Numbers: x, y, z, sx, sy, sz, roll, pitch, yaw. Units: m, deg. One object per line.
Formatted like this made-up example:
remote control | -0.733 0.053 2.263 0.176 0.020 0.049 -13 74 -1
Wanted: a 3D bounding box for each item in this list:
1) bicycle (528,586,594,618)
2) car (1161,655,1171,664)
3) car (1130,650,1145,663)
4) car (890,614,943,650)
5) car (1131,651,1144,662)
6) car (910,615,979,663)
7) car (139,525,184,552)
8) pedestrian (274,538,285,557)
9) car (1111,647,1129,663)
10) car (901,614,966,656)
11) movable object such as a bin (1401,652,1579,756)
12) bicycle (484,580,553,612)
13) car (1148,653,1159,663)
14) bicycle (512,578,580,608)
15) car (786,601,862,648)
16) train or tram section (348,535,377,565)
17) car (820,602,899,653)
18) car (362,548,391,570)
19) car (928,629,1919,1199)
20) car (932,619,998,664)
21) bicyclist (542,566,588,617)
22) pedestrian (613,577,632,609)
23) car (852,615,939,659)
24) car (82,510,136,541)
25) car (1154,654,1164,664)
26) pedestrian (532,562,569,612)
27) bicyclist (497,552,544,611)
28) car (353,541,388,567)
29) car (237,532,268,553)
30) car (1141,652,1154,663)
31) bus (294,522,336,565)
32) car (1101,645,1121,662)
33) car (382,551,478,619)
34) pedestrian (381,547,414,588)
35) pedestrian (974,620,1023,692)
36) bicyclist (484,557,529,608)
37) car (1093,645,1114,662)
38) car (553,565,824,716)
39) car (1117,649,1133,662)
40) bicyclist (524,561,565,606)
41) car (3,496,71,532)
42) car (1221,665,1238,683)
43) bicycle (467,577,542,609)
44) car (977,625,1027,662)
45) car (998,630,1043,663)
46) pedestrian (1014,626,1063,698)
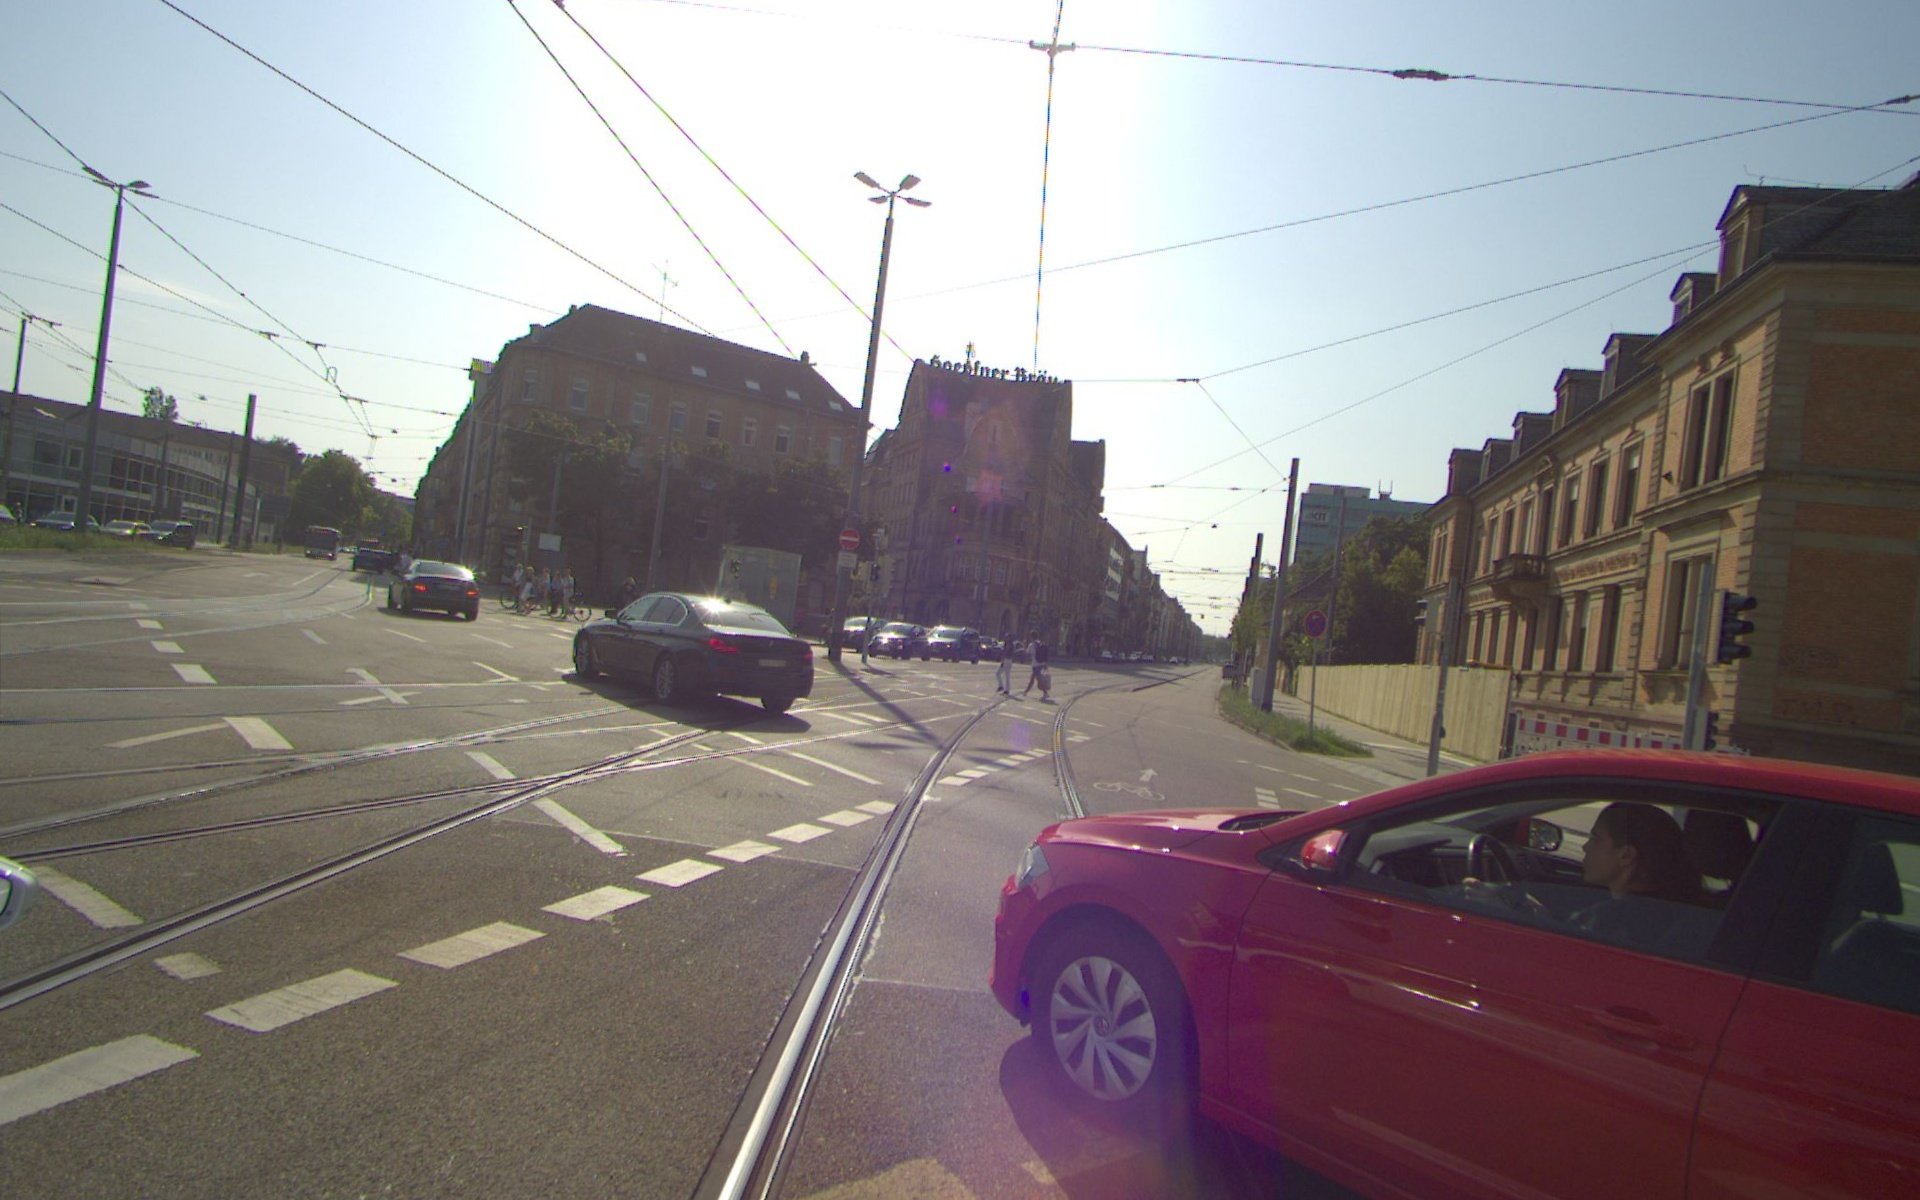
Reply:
bicycle | -14.625 0.100 36.974 1.072 0.975 2.628 7 -1 6
car | 52.468 15.168 256.190 1.896 1.880 4.117 7 -1 16
car | 29.681 9.409 168.162 1.896 1.880 4.117 7 -1 16
car | -2.694 2.058 63.237 1.895 1.880 4.277 7 -1 16
car | 33.074 10.559 187.266 1.896 1.880 4.117 7 -1 16
car | -0.670 1.822 45.926 1.874 1.880 4.072 7 -1 16
car | -51.141 -3.938 64.510 1.601 1.494 3.969 5 0 -30
pedestrian | -61.790 -4.758 91.351 0.590 1.650 0.632 7 0 -30
car | 22.494 7.737 141.496 1.896 1.880 4.117 7 -1 16
car | -1.340 1.905 53.494 2.006 1.880 4.669 7 -1 16
movable object such as a bin | 16.208 3.033 31.459 2.406 2.471 7.985 7 -1 11
bicycle | -16.434 -0.121 37.524 1.072 0.975 2.628 7 -1 6
car | 41.040 12.375 213.206 1.896 1.880 4.117 7 -1 16
bicycle | -17.311 -0.289 42.122 1.073 0.975 2.628 7 -1 19
car | -6.488 1.207 48.456 1.919 1.880 4.277 7 -1 16
train or tram section | -87.133 -7.367 146.610 2.639 3.744 10.488 7 0 -35
car | -4.371 1.257 44.628 1.874 1.880 4.254 7 -1 16
car | -47.798 -3.352 82.424 1.813 1.446 4.375 7 -1 -32
car | 2.052 1.106 2.637 1.678 1.510 4.317 7 0 -44
car | 0.290 2.117 50.496 2.095 1.880 4.185 7 -1 16
bicyclist | -14.558 -0.305 37.103 1.072 1.729 0.937 7 0 6
pedestrian | -16.484 -0.346 49.191 0.536 1.489 0.668 7 0 -1
car | -2.505 1.523 40.258 1.985 1.413 4.392 7 -1 16
car | -49.065 -4.261 58.077 1.601 1.494 3.969 5 0 -30
car | 45.490 13.466 229.990 1.896 1.880 4.117 7 -1 16
pedestrian | -16.111 -0.499 39.580 0.844 1.819 0.928 7 0 3
bicyclist | -16.376 -0.670 37.477 1.072 2.049 0.937 7 0 6
car | -39.136 -3.079 66.855 1.812 1.446 4.378 7 -1 -30
car | -57.932 -4.665 82.402 1.601 1.494 3.969 5 0 -30
car | 37.111 11.397 199.244 1.896 1.880 4.117 7 -1 16
bus | -66.172 -5.845 102.994 2.903 3.662 16.594 8 -1 -34
car | 19.748 7.007 131.573 1.896 1.880 4.117 7 -1 16
car | -14.134 -0.452 26.696 1.672 1.460 4.333 7 -1 -34
pedestrian | -22.725 -1.312 40.620 0.698 1.521 0.779 7 0 28
pedestrian | 0.973 1.414 25.738 0.907 1.710 0.836 7 0 -10
bicyclist | -17.731 -0.680 39.346 1.072 1.821 0.937 7 0 20
car | 17.614 6.589 123.524 1.896 1.880 4.117 7 -1 16
car | -4.018 0.494 14.307 1.678 1.509 4.617 9 -1 -42
car | 26.254 8.808 160.037 1.896 1.880 4.117 7 -1 16
bicyclist | -17.324 -0.669 41.933 1.073 1.700 0.937 7 0 20
car | -46.380 -4.270 50.634 1.601 1.494 3.969 5 0 -30
car | 33.225 9.157 124.131 1.713 1.790 4.411 8 -3 15
bicycle | -17.780 -0.256 39.365 1.073 0.975 2.628 7 -1 19
car | 2.569 2.667 60.754 1.941 1.880 4.140 7 -1 16
car | 3.990 3.064 65.588 1.896 1.880 4.117 7 -1 16
pedestrian | 2.016 1.588 26.055 0.906 1.710 0.924 7 0 -7
